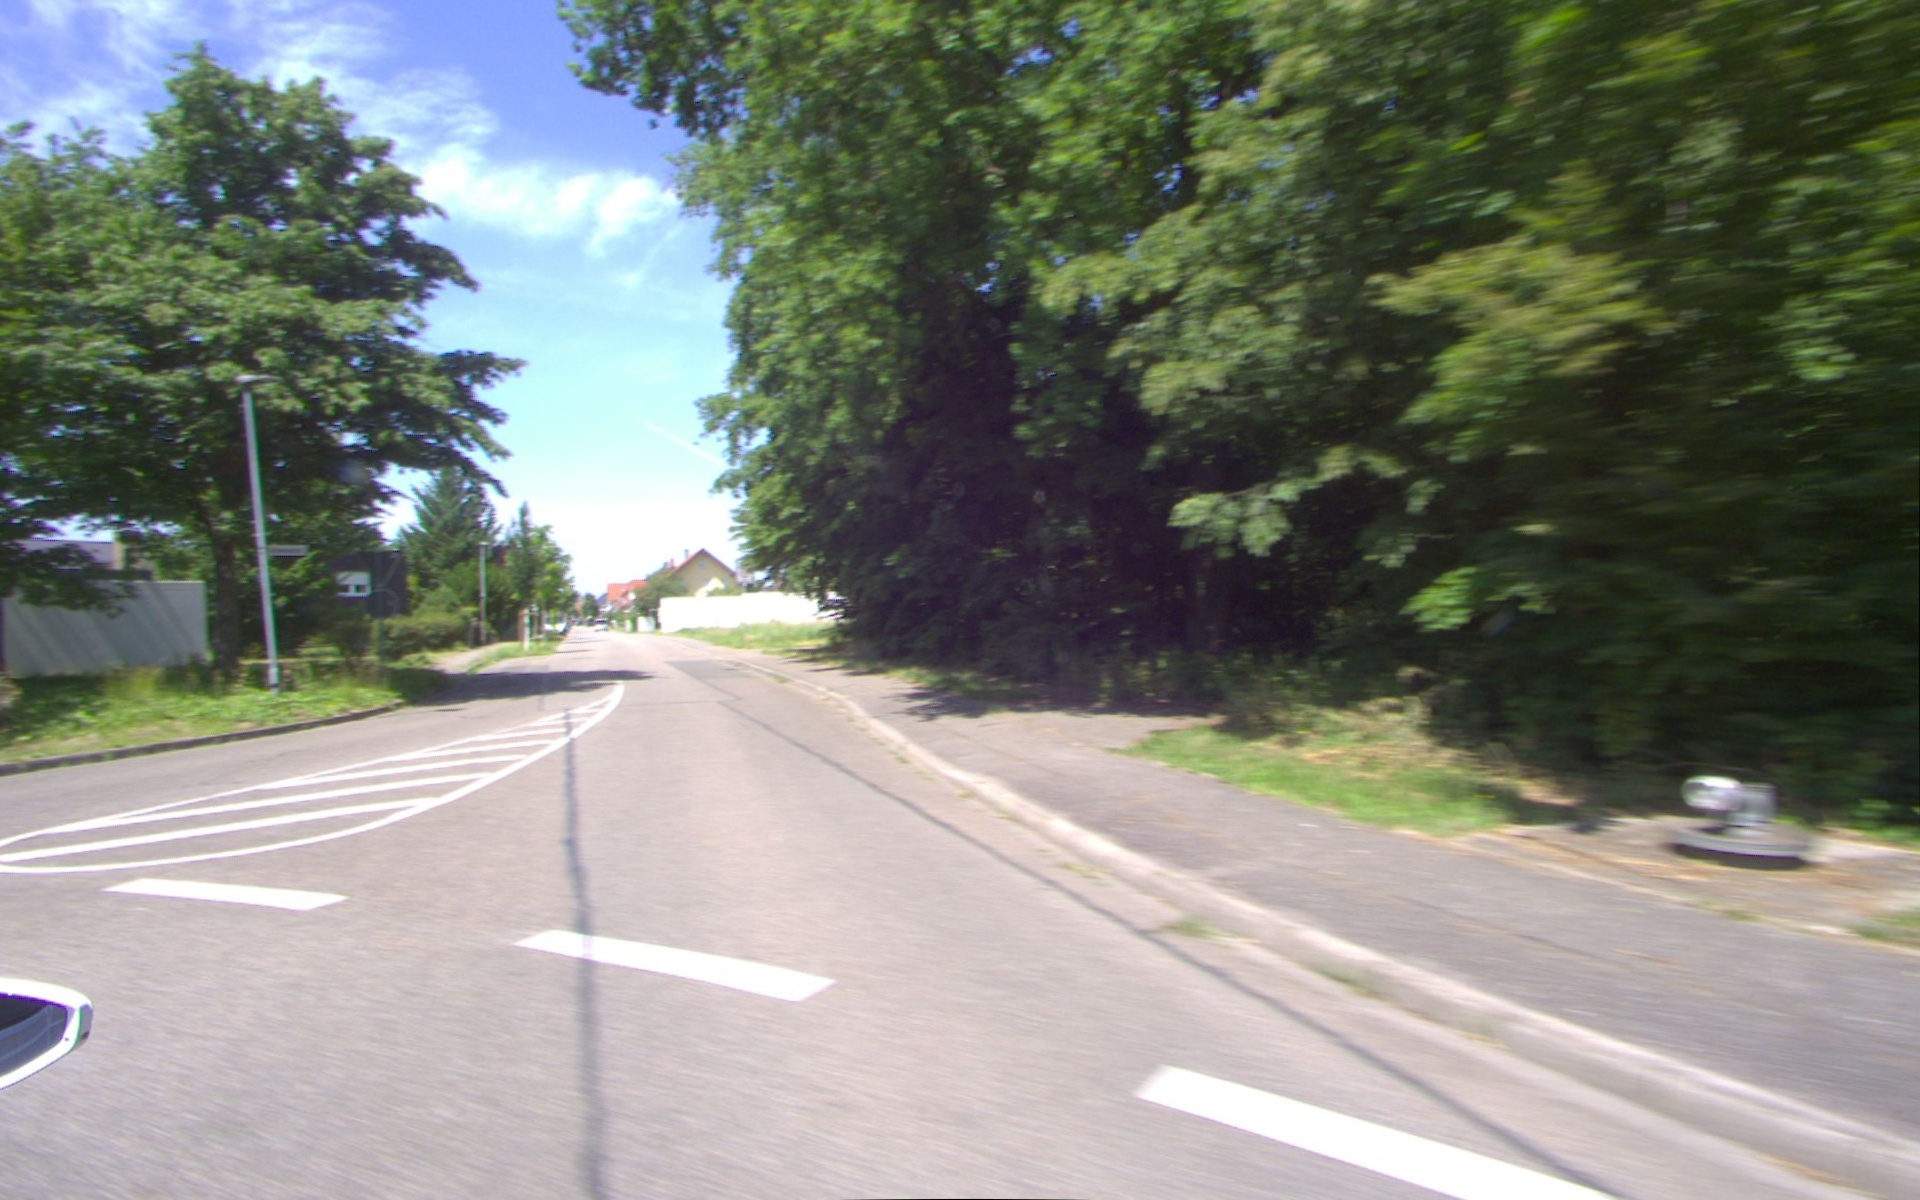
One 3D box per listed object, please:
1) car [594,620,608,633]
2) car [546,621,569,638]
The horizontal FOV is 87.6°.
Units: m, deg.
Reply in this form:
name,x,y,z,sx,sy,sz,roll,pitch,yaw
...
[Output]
name,x,y,z,sx,sy,sz,roll,pitch,yaw
car,-51.597,3.795,143.886,1.811,1.682,3.991,-2,-2,-21
car,-39.275,2.893,97.566,1.732,1.498,3.782,-2,-2,-27
